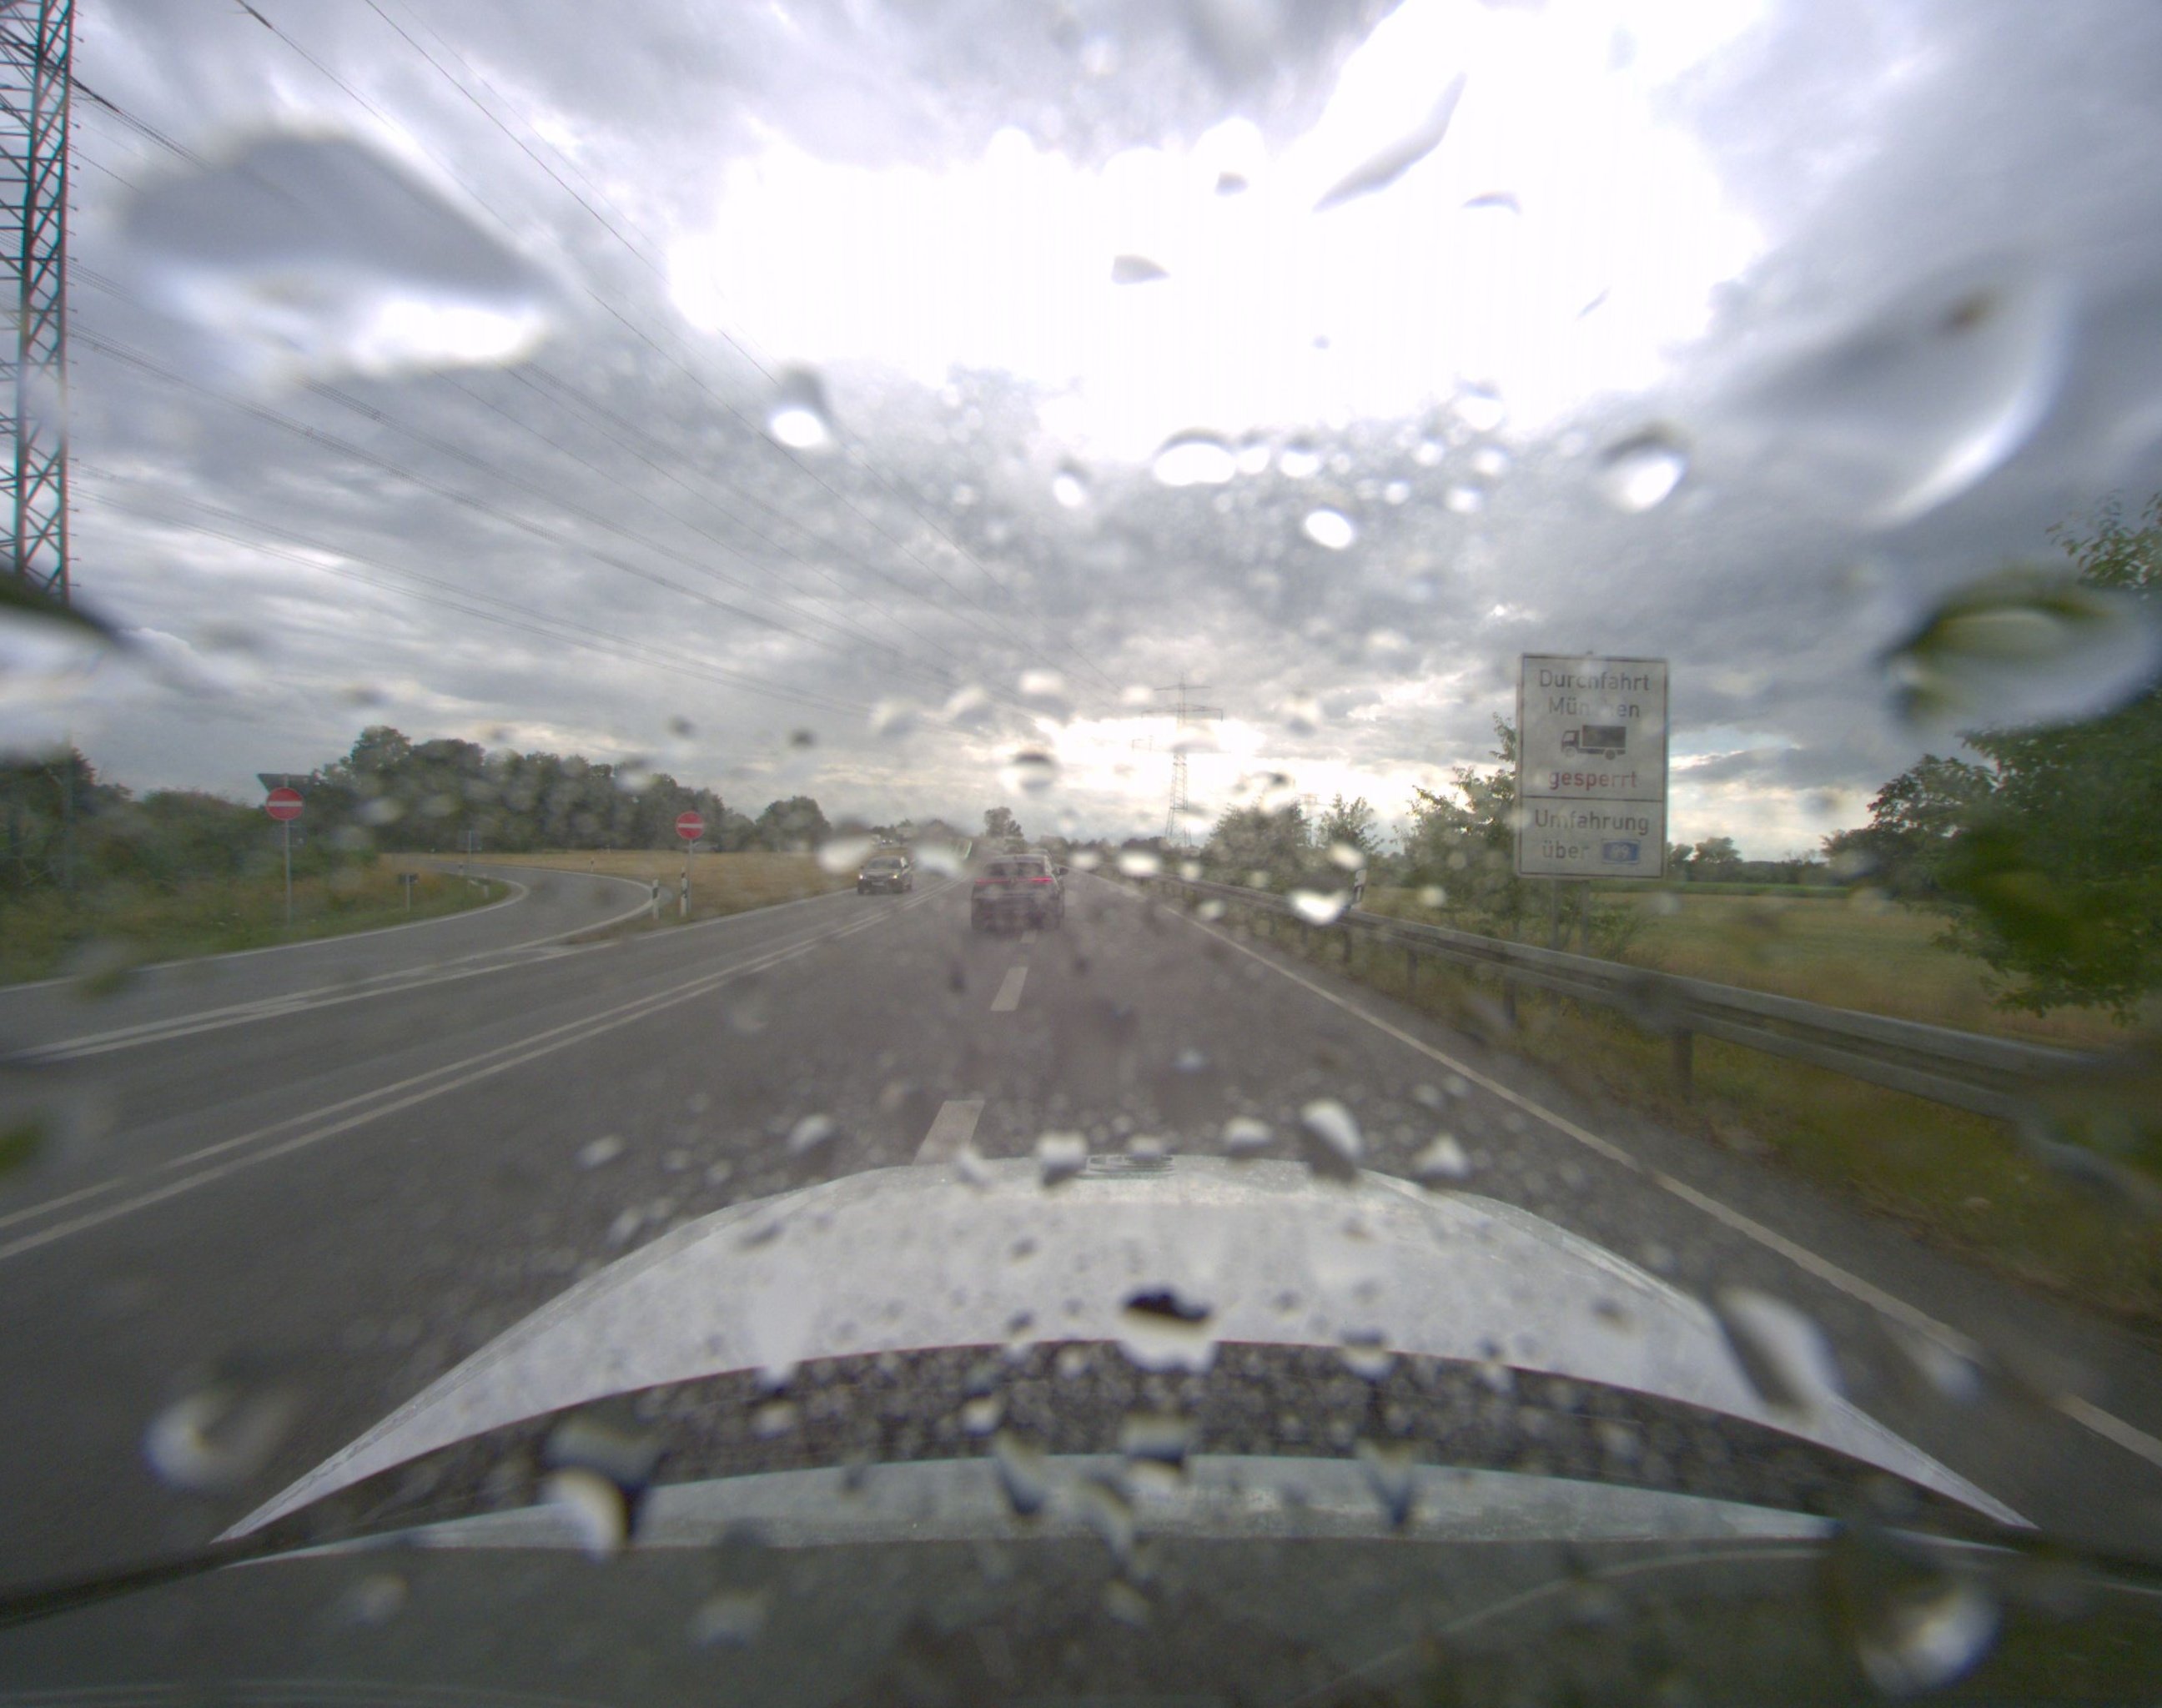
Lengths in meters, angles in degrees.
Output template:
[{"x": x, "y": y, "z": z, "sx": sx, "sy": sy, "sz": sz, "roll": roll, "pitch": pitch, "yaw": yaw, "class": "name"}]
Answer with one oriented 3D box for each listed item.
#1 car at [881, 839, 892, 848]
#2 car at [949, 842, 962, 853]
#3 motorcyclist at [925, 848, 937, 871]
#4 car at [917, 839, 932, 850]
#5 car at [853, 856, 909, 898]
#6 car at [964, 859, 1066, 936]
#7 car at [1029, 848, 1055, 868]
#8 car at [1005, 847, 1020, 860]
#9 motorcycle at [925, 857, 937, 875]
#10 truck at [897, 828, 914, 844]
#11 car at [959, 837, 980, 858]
[{"x": -41.175, "y": -2.197, "z": 172.312, "sx": 1.986, "sy": 1.604, "sz": 3.892, "roll": 2, "pitch": -1, "yaw": -18, "class": "car"}, {"x": -20.590, "y": -1.047, "z": 133.547, "sx": 1.792, "sy": 1.688, "sz": 3.984, "roll": 0, "pitch": -1, "yaw": -11, "class": "car"}, {"x": -10.280, "y": 0.356, "z": 55.752, "sx": 0.802, "sy": 1.535, "sz": 0.821, "roll": 0, "pitch": 0, "yaw": -11, "class": "motorcyclist"}, {"x": -33.140, "y": -1.941, "z": 172.589, "sx": 2.608, "sy": 2.250, "sz": 5.503, "roll": 0, "pitch": -1, "yaw": -17, "class": "car"}, {"x": -8.097, "y": 0.891, "z": 33.231, "sx": 1.799, "sy": 1.594, "sz": 4.213, "roll": 0, "pitch": -1, "yaw": -8, "class": "car"}, {"x": -1.288, "y": 0.836, "z": 17.504, "sx": 1.785, "sy": 1.441, "sz": 4.001, "roll": 0, "pitch": 0, "yaw": 1, "class": "car"}, {"x": -2.980, "y": 0.327, "z": 61.030, "sx": 1.788, "sy": 1.441, "sz": 3.992, "roll": -1, "pitch": -1, "yaw": -5, "class": "car"}, {"x": -8.392, "y": -0.118, "z": 99.494, "sx": 1.788, "sy": 1.541, "sz": 3.994, "roll": 0, "pitch": 0, "yaw": -4, "class": "car"}, {"x": -10.296, "y": 0.808, "z": 55.867, "sx": 0.802, "sy": 1.238, "sz": 2.177, "roll": 0, "pitch": 0, "yaw": -10, "class": "motorcycle"}, {"x": -42.441, "y": -4.321, "z": 196.707, "sx": 3.055, "sy": 3.385, "sz": 7.595, "roll": 0, "pitch": -1, "yaw": -19, "class": "truck"}, {"x": -15.158, "y": -0.847, "z": 110.292, "sx": 2.572, "sy": 2.725, "sz": 7.172, "roll": 0, "pitch": -1, "yaw": -9, "class": "car"}]
